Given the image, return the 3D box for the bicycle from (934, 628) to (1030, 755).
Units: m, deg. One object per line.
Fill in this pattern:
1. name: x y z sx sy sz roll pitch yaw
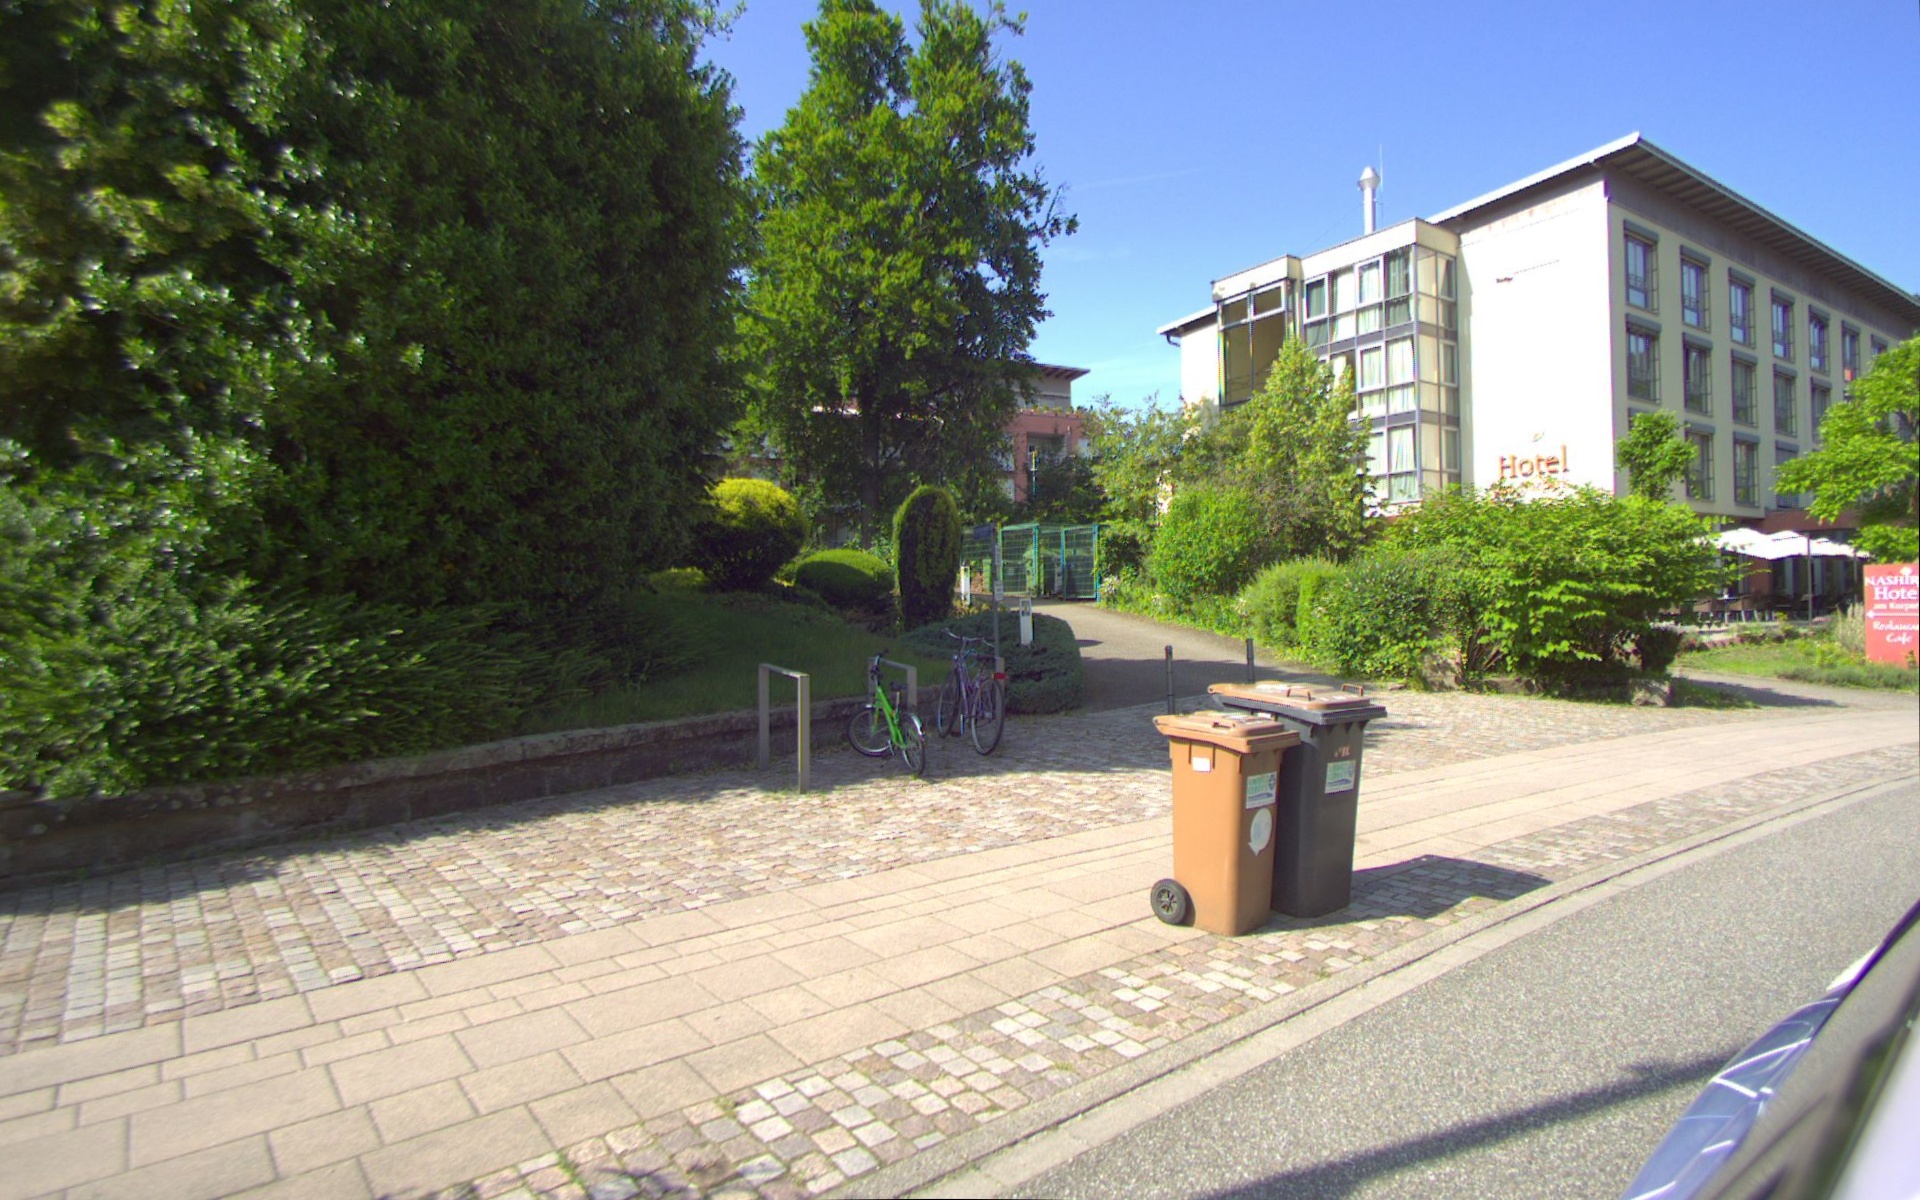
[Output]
1. bicycle: 0.174 0.806 9.462 0.376 0.995 1.551 1 1 -19

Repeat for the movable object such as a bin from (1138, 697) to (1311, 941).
1. movable object such as a bin: 1.187 0.939 4.555 0.553 0.923 0.526 0 0 -39

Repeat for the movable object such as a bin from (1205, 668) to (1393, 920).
1. movable object such as a bin: 1.633 0.884 4.897 0.561 1.045 0.657 0 0 -39

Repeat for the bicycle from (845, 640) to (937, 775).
1. bicycle: -0.615 0.860 8.567 0.376 0.920 1.552 1 2 -19
